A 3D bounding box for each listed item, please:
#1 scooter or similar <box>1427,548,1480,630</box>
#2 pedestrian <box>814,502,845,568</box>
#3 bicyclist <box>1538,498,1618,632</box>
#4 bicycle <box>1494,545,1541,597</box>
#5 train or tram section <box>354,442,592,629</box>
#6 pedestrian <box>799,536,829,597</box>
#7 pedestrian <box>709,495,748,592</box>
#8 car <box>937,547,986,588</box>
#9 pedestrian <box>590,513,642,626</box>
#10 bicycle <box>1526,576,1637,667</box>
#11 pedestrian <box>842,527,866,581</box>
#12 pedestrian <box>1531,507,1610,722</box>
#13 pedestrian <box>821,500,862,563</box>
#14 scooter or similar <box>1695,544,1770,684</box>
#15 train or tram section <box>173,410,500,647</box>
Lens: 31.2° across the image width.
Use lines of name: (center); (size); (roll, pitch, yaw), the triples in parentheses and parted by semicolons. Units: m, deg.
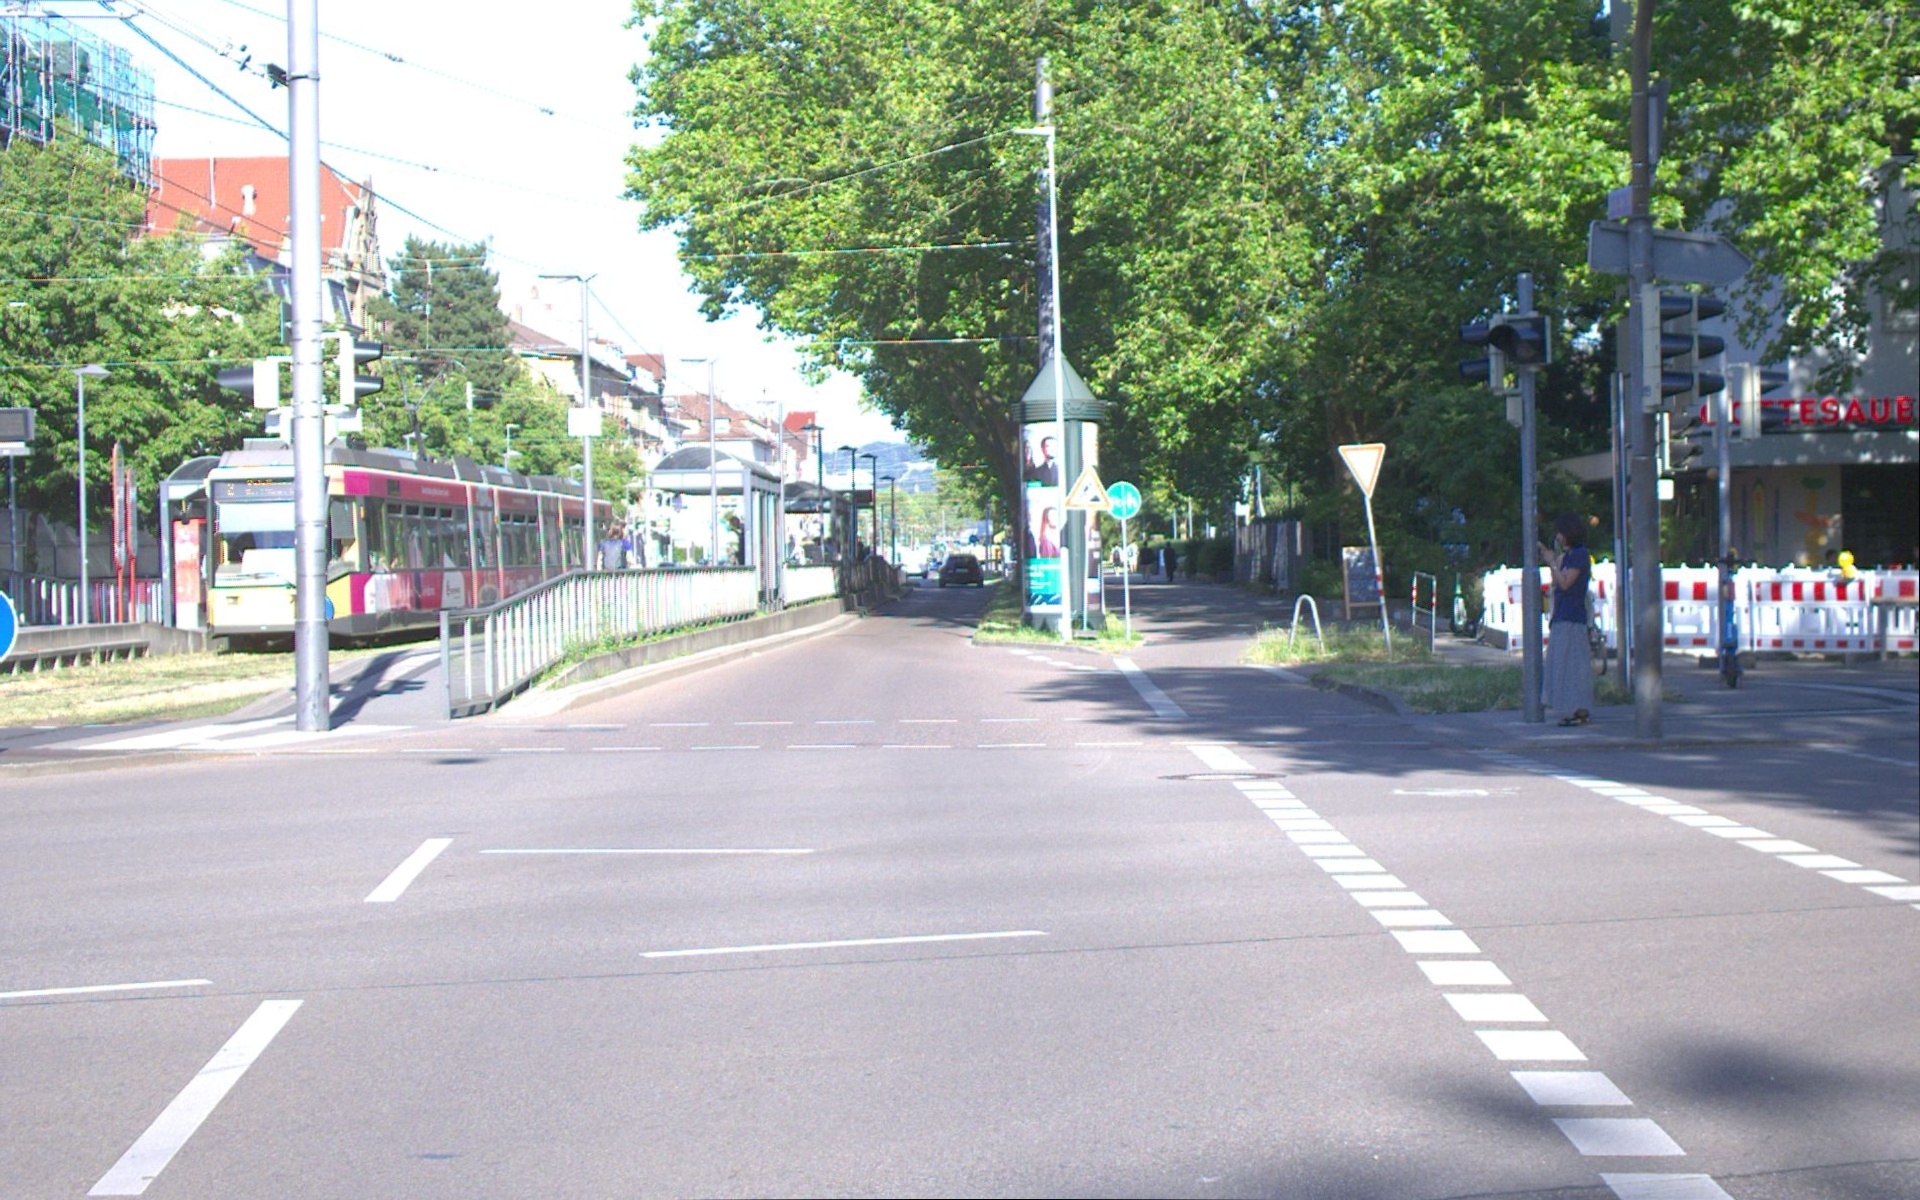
scooter or similar: (7.764, -0.171, 54.123); (0.560, 1.253, 1.290); (-2, 0, -3)
pedestrian: (-3.482, -1.725, 91.676); (0.765, 1.752, 0.695); (1, 1, 1)
bicyclist: (7.214, -0.409, 40.178); (0.603, 1.545, 0.860); (-1, 1, -14)
bicycle: (12.839, -0.669, 79.226); (0.789, 1.173, 1.820); (1, 1, 1)
train or tram section: (-10.489, -1.366, 75.881); (2.869, 3.673, 14.560); (-1, 1, 1)
pedestrian: (-3.721, -0.859, 87.735); (0.678, 1.556, 0.851); (1, 1, 1)
pedestrian: (-4.557, -1.113, 67.704); (0.669, 1.896, 0.824); (1, 1, 0)
car: (0.074, -1.385, 147.090); (1.993, 1.678, 4.000); (1, 1, 1)
pedestrian: (-4.934, -0.437, 49.309); (0.629, 1.604, 0.982); (1, 1, -1)
bicycle: (7.244, 0.236, 40.133); (0.603, 1.023, 1.767); (-1, 1, -14)
pedestrian: (-3.336, -1.436, 108.459); (0.679, 1.684, 0.894); (1, 1, 1)
pedestrian: (4.697, 0.107, 26.462); (0.427, 1.633, 0.613); (0, 1, -7)
pedestrian: (-3.241, -1.875, 93.964); (0.907, 1.716, 0.631); (1, 1, -32)
scooter or similar: (7.149, 0.122, 31.840); (0.560, 1.253, 1.289); (-2, 0, 9)
train or tram section: (-10.775, -1.210, 61.336); (2.869, 3.663, 14.560); (-1, 1, 1)
